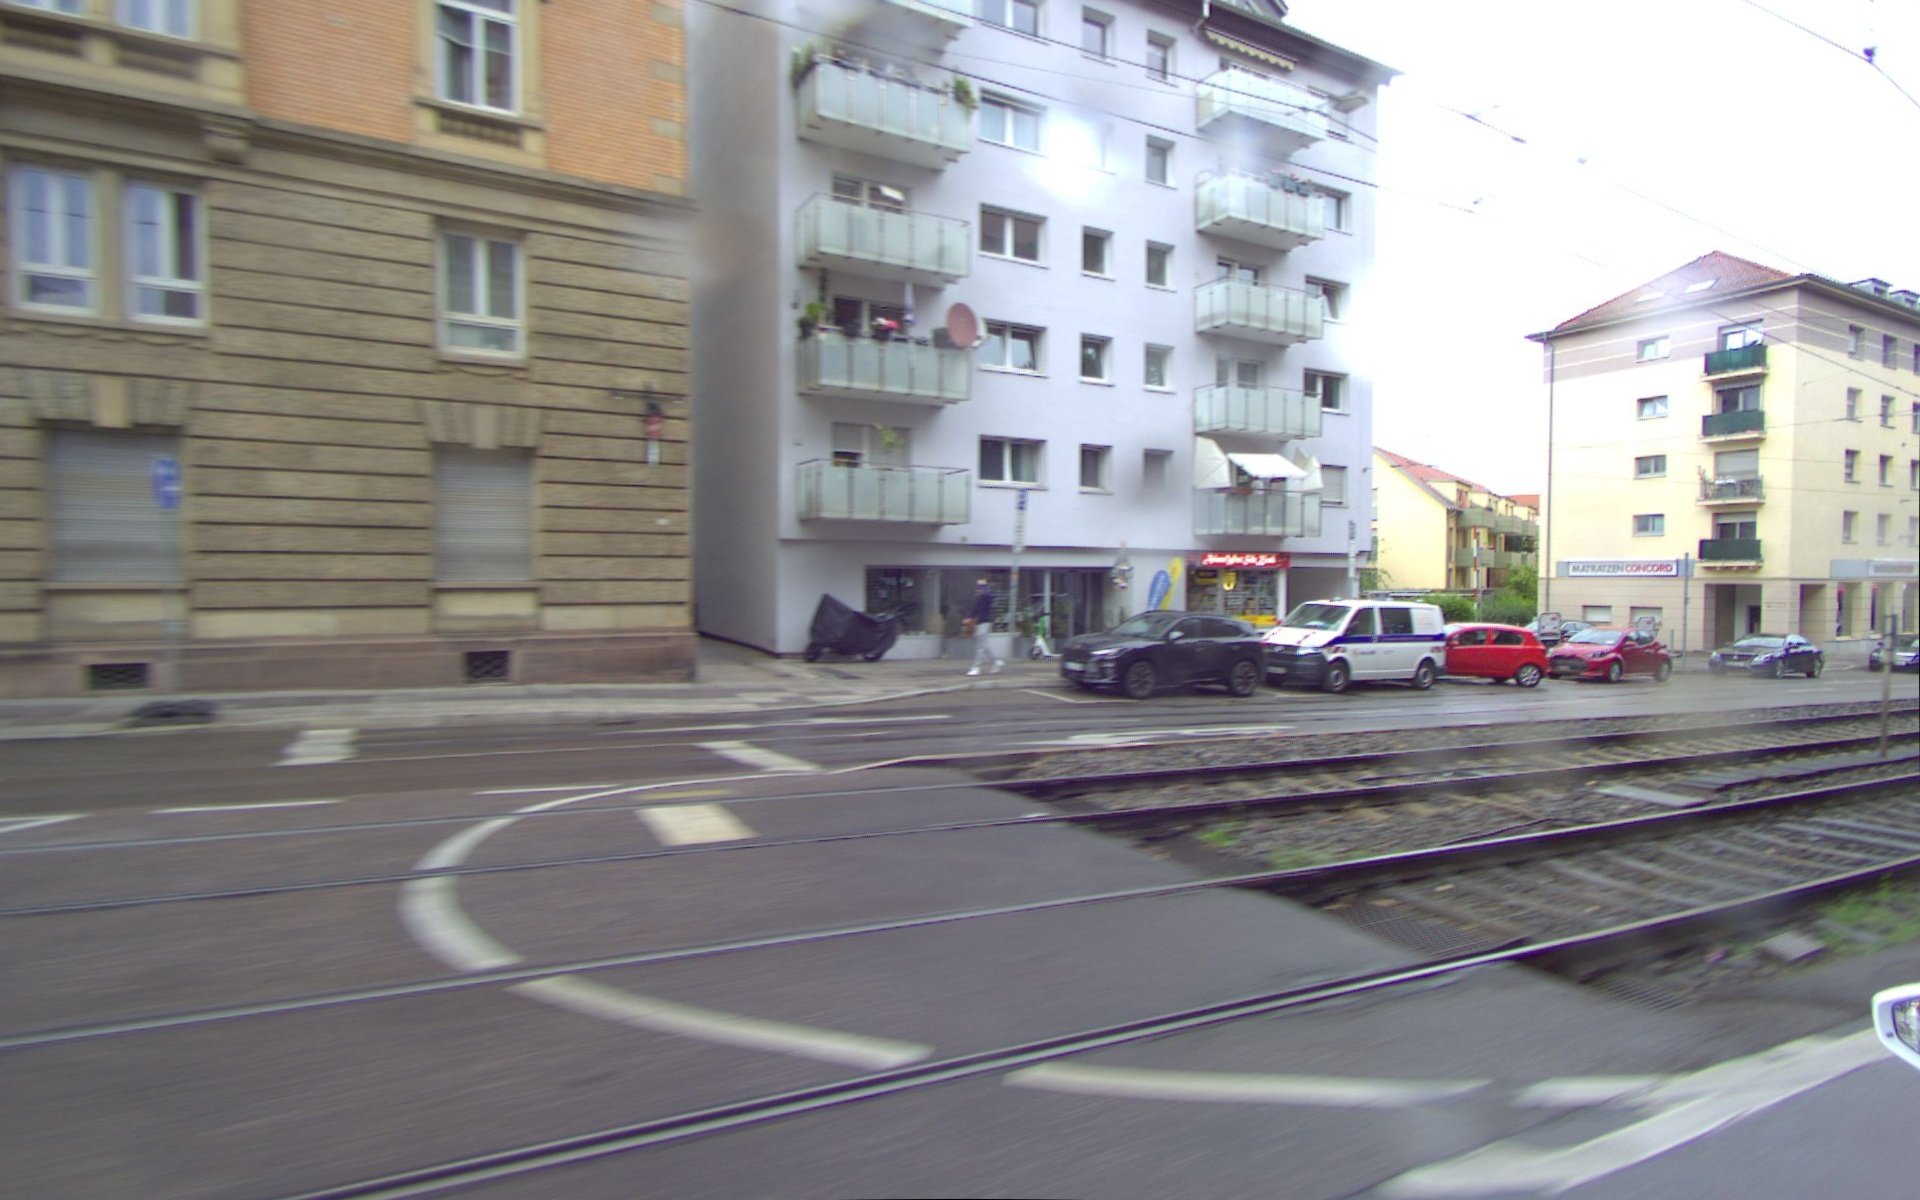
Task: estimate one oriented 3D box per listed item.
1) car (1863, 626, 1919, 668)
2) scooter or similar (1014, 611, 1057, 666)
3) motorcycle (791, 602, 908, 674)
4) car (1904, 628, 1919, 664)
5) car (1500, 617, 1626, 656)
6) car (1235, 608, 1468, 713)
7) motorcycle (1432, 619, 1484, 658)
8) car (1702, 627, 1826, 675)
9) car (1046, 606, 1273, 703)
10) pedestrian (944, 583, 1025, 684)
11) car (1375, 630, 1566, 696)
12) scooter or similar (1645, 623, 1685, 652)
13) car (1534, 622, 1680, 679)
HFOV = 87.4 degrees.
[{"bbox_3d":[37.349,1.808,39.398,4.942,1.528,1.839,1,0,-35],"label":"car"},{"bbox_3d":[1.847,0.930,24.766,0.314,1.226,1.079,1,5,-40],"label":"scooter or similar"},{"bbox_3d":[-2.391,0.798,21.764,2.281,1.395,0.924,1,6,-30],"label":"motorcycle"},{"bbox_3d":[42.080,1.959,42.438,4.774,1.451,1.842,1,1,-30],"label":"car"},{"bbox_3d":[22.794,1.354,37.969,4.414,1.321,1.866,0,1,-23],"label":"car"},{"bbox_3d":[8.945,1.264,22.815,5.239,2.036,2.060,0,3,-30],"label":"car"},{"bbox_3d":[16.647,1.302,33.550,1.764,1.216,0.636,2,3,-31],"label":"motorcycle"},{"bbox_3d":[26.015,1.619,32.476,4.570,1.414,1.671,1,0,-31],"label":"car"},{"bbox_3d":[3.943,0.999,19.682,4.313,1.673,1.724,1,1,-31],"label":"car"},{"bbox_3d":[0.487,0.638,20.246,1.167,1.955,1.163,0,1,-37],"label":"pedestrian"},{"bbox_3d":[12.845,1.558,25.458,3.902,1.453,1.786,1,1,5],"label":"car"},{"bbox_3d":[29.349,1.572,41.813,0.375,1.127,1.282,0,2,-36],"label":"scooter or similar"},{"bbox_3d":[18.035,1.363,27.992,4.022,1.471,1.647,1,0,-28],"label":"car"}]
